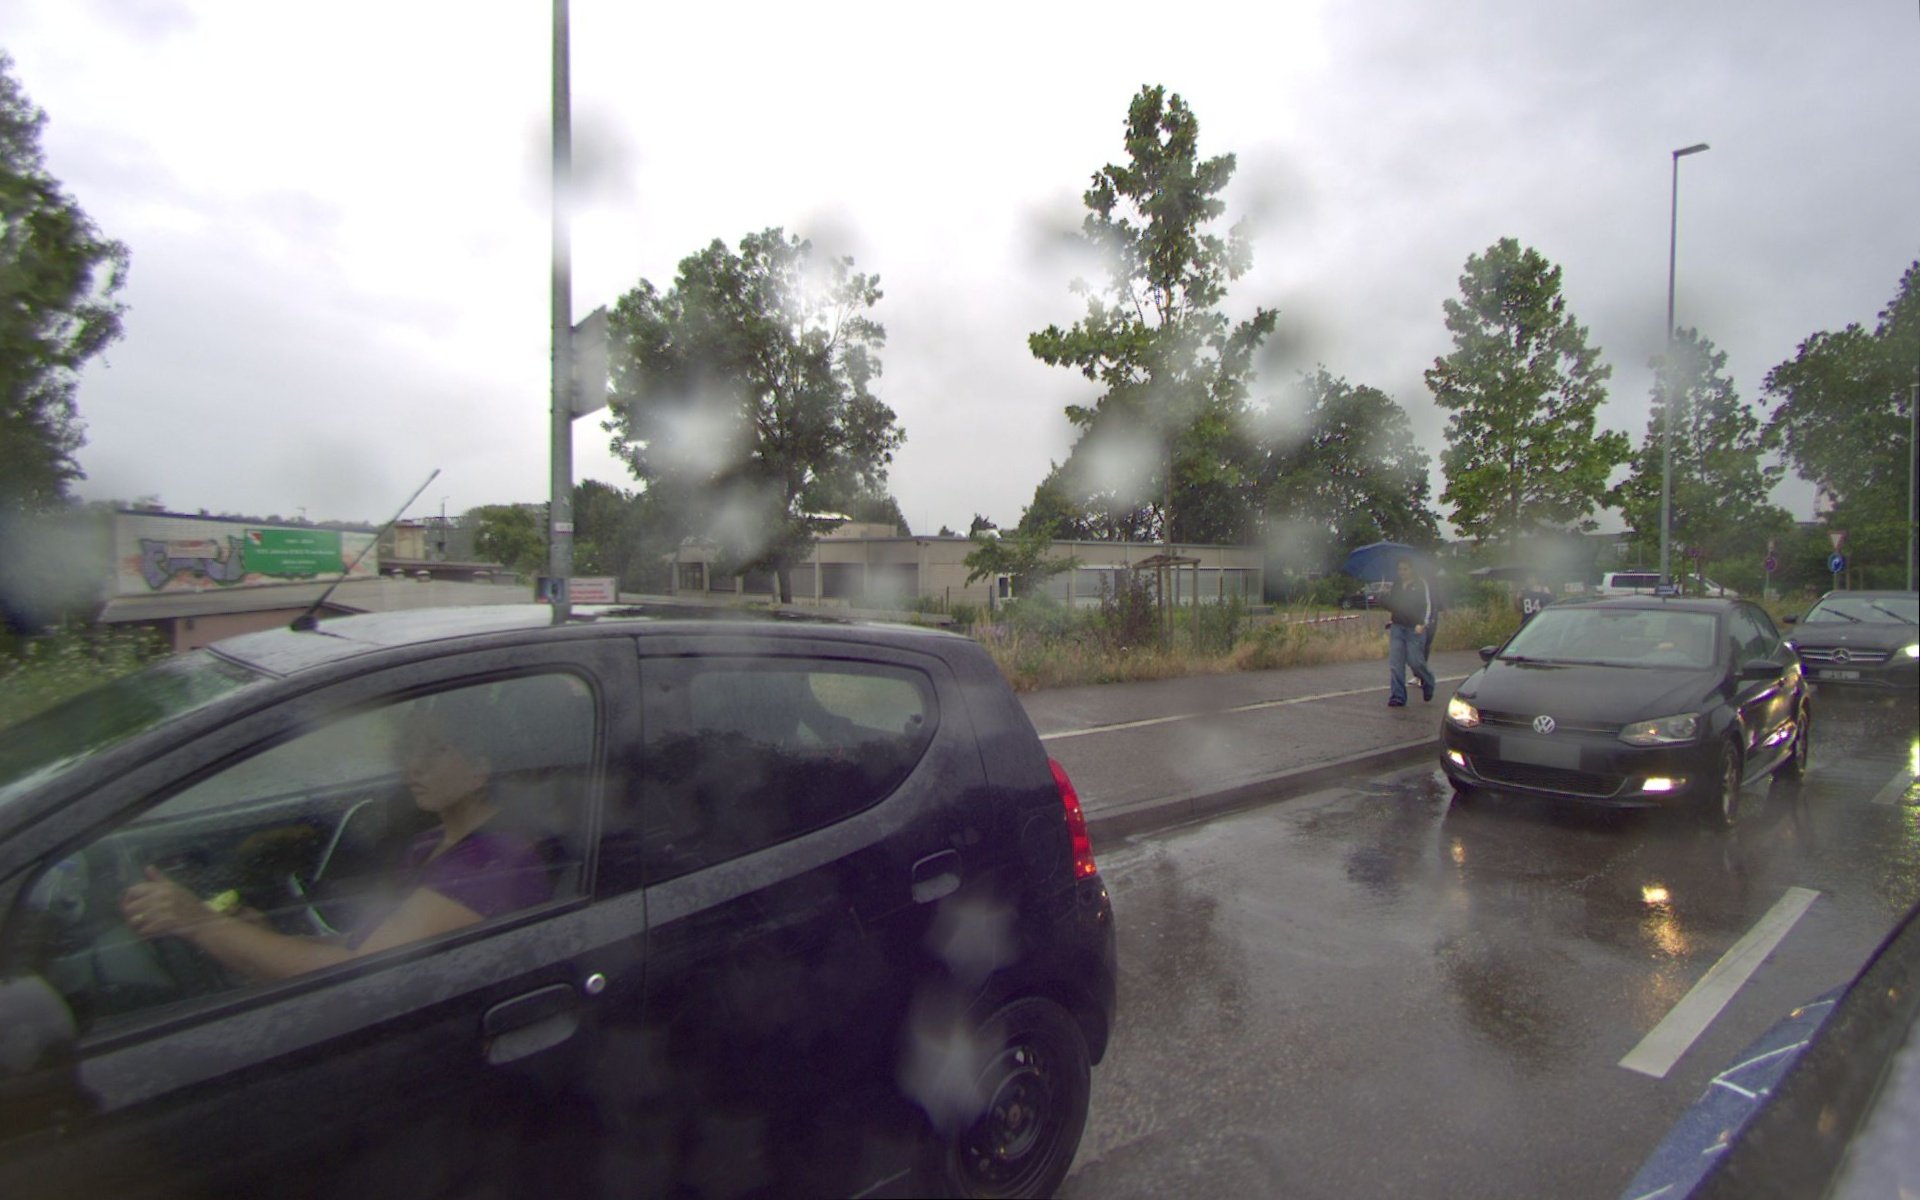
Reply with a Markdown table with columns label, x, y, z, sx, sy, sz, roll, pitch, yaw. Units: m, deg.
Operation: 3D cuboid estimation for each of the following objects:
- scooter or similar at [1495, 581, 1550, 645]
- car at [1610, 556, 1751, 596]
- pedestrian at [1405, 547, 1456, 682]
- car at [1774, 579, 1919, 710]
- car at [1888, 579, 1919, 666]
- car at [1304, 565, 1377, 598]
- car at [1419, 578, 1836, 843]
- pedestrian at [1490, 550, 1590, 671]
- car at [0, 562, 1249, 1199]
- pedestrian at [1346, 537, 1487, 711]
| label | x | y | z | sx | sy | sz | roll | pitch | yaw |
| --- | --- | --- | --- | --- | --- | --- | --- | --- | --- |
| scooter or similar | 10.899 | 0.229 | 19.588 | 1.747 | 1.144 | 0.380 | -2 | 3 | -42 |
| car | 31.478 | -1.026 | 44.324 | 1.966 | 1.670 | 4.753 | -2 | 1 | -42 |
| pedestrian | 6.005 | 0.169 | 12.915 | 0.433 | 1.682 | 0.401 | -2 | 3 | -41 |
| car | 13.064 | 0.527 | 14.340 | 3.747 | 1.593 | 1.697 | -2 | 1 | -40 |
| car | 19.036 | 0.383 | 19.187 | 4.051 | 1.488 | 1.702 | -2 | 2 | -41 |
| car | 24.607 | -1.204 | 65.617 | 1.964 | 2.039 | 3.997 | -2 | 1 | -38 |
| car | 4.945 | 0.577 | 7.322 | 3.561 | 1.446 | 1.631 | -1 | 1 | -41 |
| pedestrian | 8.758 | 0.127 | 15.290 | 0.876 | 1.729 | 1.025 | -2 | 4 | -41 |
| car | -1.088 | 0.670 | 2.189 | 3.561 | 1.446 | 1.631 | -1 | 1 | -41 |
| pedestrian | 4.977 | 0.209 | 11.054 | 0.953 | 1.777 | 1.081 | -2 | 3 | -41 |
